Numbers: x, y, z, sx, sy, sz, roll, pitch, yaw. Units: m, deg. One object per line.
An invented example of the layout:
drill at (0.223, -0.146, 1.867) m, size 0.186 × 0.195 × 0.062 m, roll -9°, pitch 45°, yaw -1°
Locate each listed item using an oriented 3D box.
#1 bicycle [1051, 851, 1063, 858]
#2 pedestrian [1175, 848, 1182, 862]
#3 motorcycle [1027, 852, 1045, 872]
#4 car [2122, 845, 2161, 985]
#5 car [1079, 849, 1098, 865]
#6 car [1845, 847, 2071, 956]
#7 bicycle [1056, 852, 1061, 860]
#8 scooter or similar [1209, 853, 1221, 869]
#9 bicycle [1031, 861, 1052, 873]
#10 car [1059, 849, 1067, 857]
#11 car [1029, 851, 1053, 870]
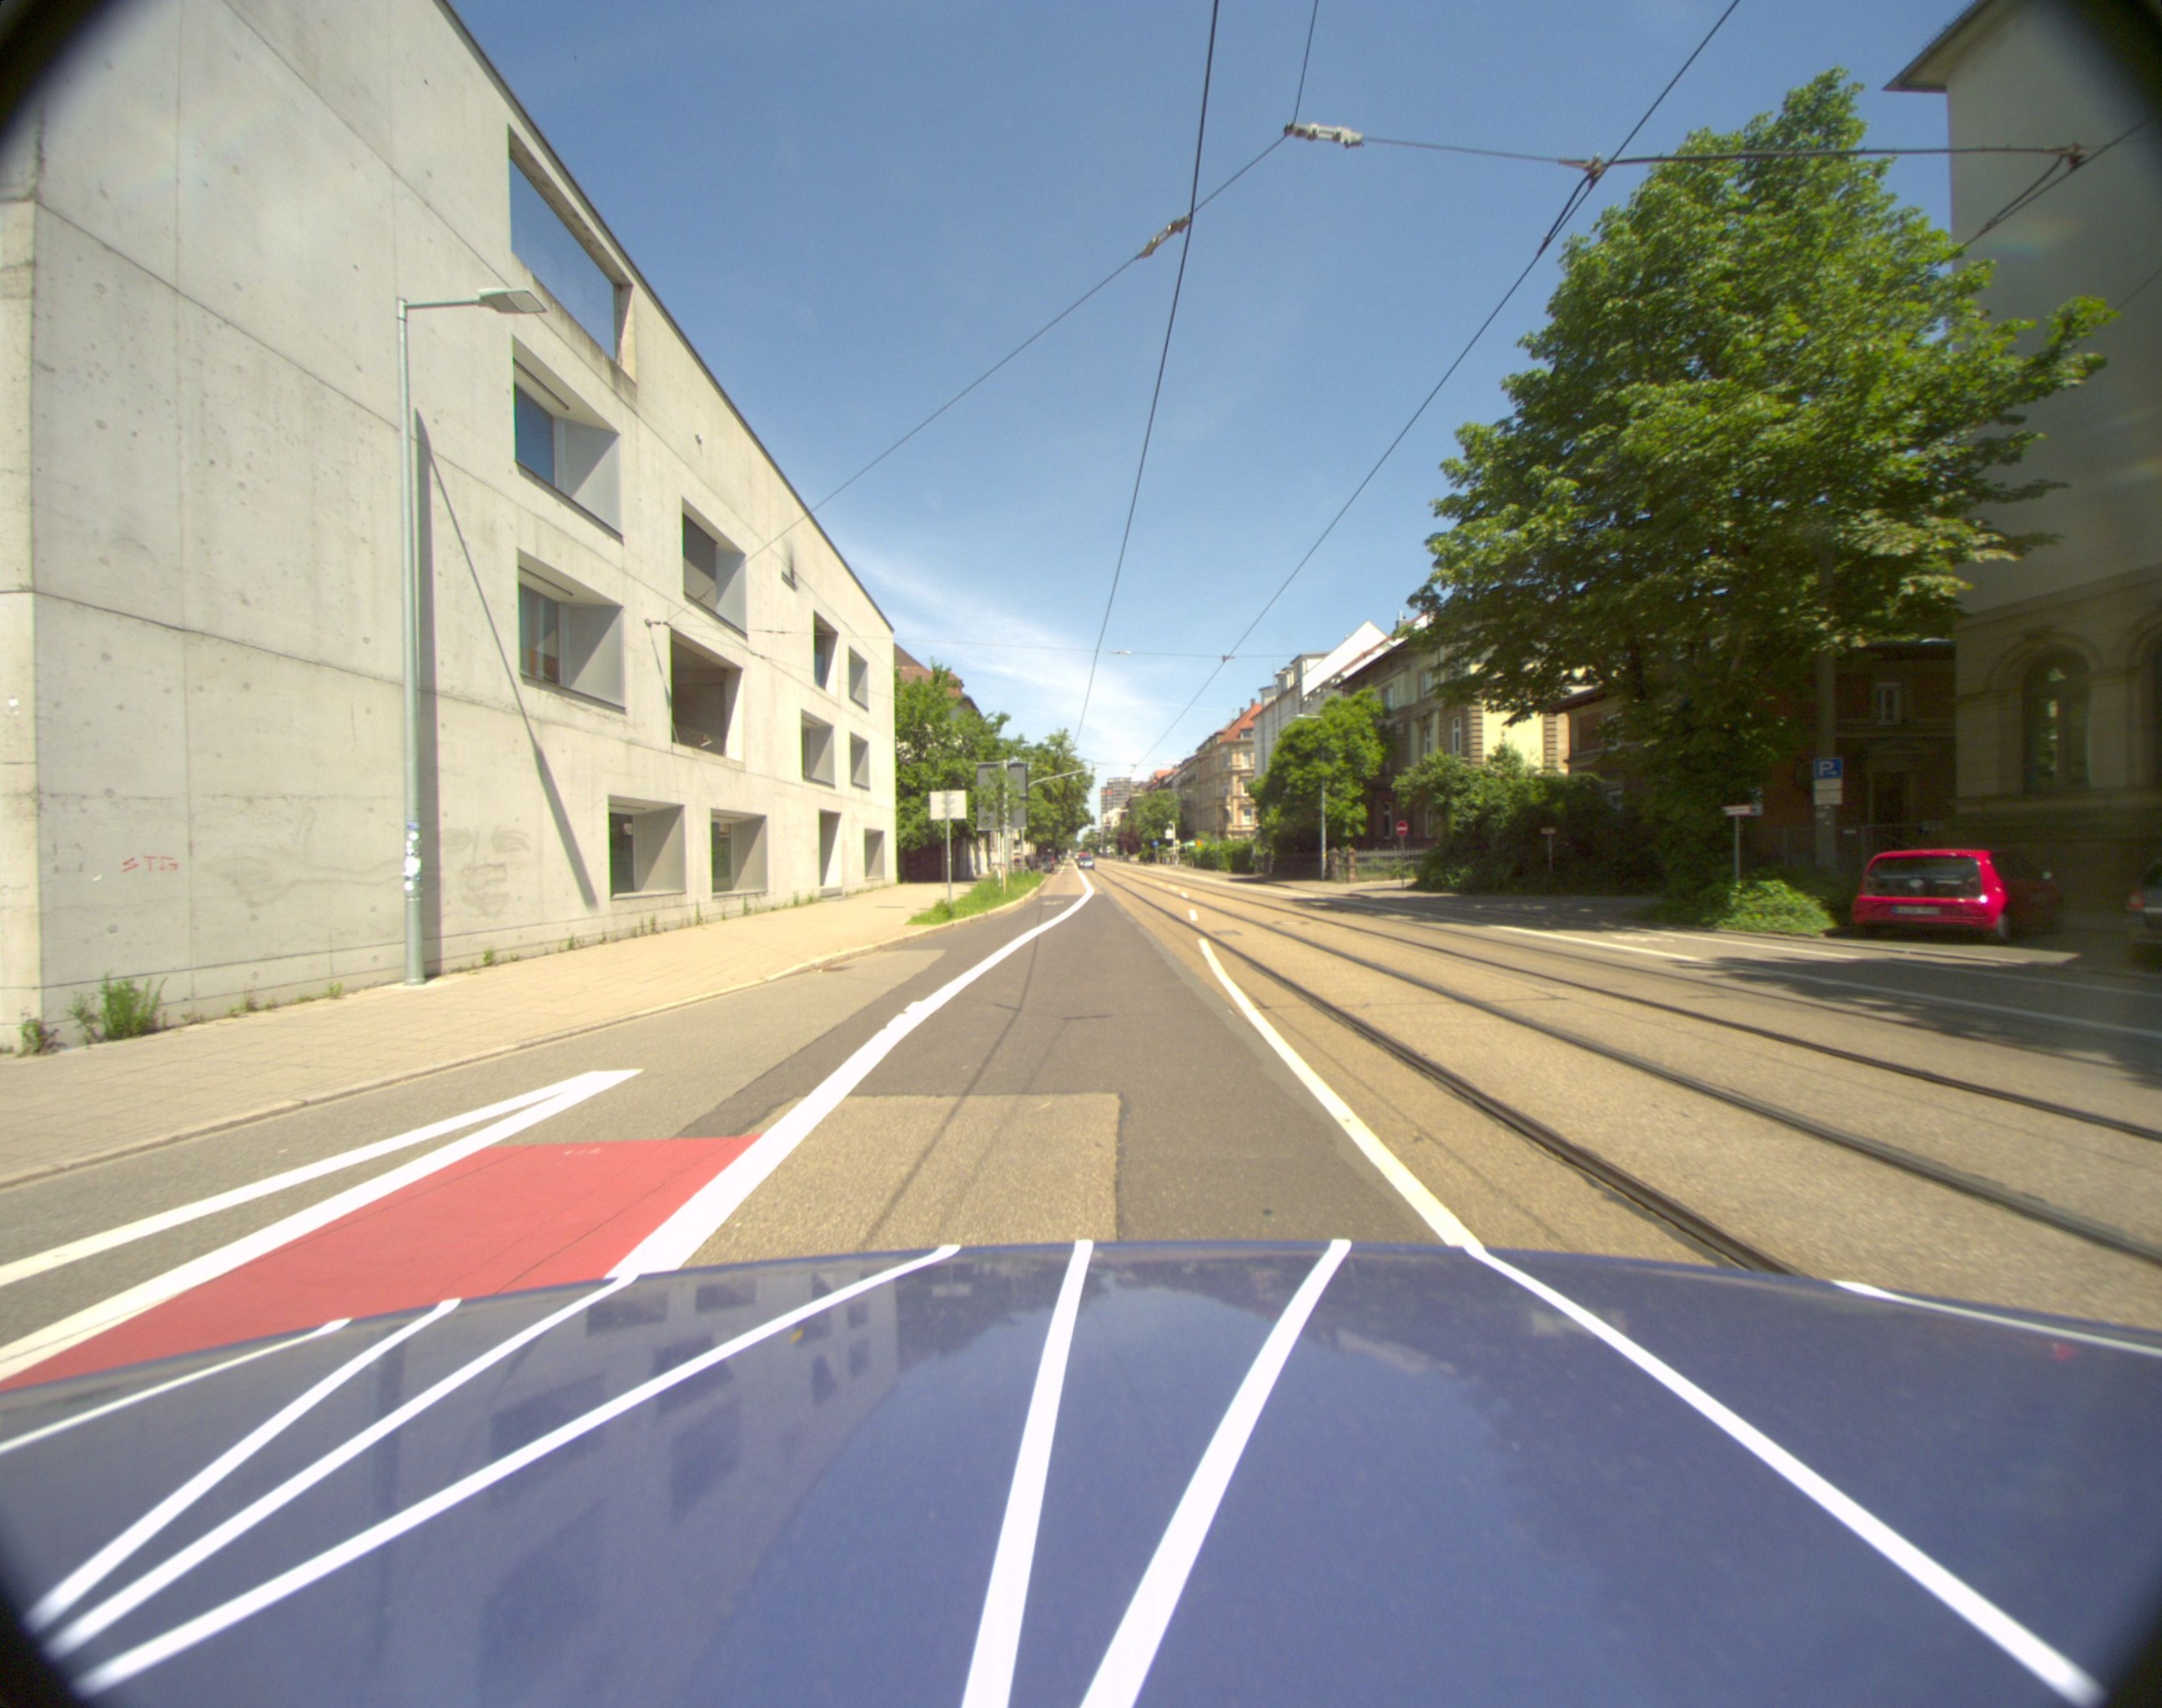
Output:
bicycle at (-4.051, 0.073, 128.669) m, size 2.038 × 1.194 × 0.445 m, roll -1°, pitch 2°, yaw 9°
pedestrian at (11.647, 0.152, 91.076) m, size 0.742 × 1.632 × 0.939 m, roll -1°, pitch 1°, yaw 2°
motorcycle at (-3.451, 0.580, 58.627) m, size 0.746 × 1.497 × 2.560 m, roll 0°, pitch 0°, yaw 11°
car at (14.923, 0.684, 9.564) m, size 4.328 × 1.575 × 1.665 m, roll -2°, pitch 1°, yaw -30°
car at (0.802, 0.278, 79.554) m, size 1.893 × 1.561 × 4.036 m, roll -1°, pitch 1°, yaw 0°
car at (14.630, 0.694, 12.675) m, size 3.357 × 1.507 × 1.666 m, roll -2°, pitch 1°, yaw -26°
bicycle at (-3.716, 0.309, 122.948) m, size 0.284 × 1.193 × 1.625 m, roll -2°, pitch 2°, yaw -20°
scooter or similar at (12.387, 0.629, 70.348) m, size 1.011 × 1.443 × 0.597 m, roll -1°, pitch 2°, yaw -1°
bicycle at (-3.214, 1.082, 62.331) m, size 1.662 × 1.010 × 0.371 m, roll 0°, pitch 1°, yaw 0°
car at (-3.596, -0.290, 150.131) m, size 1.540 × 1.535 × 3.999 m, roll -1°, pitch 1°, yaw -1°
car at (-3.423, 0.525, 65.851) m, size 1.864 × 1.568 × 4.876 m, roll -1°, pitch 1°, yaw 0°
